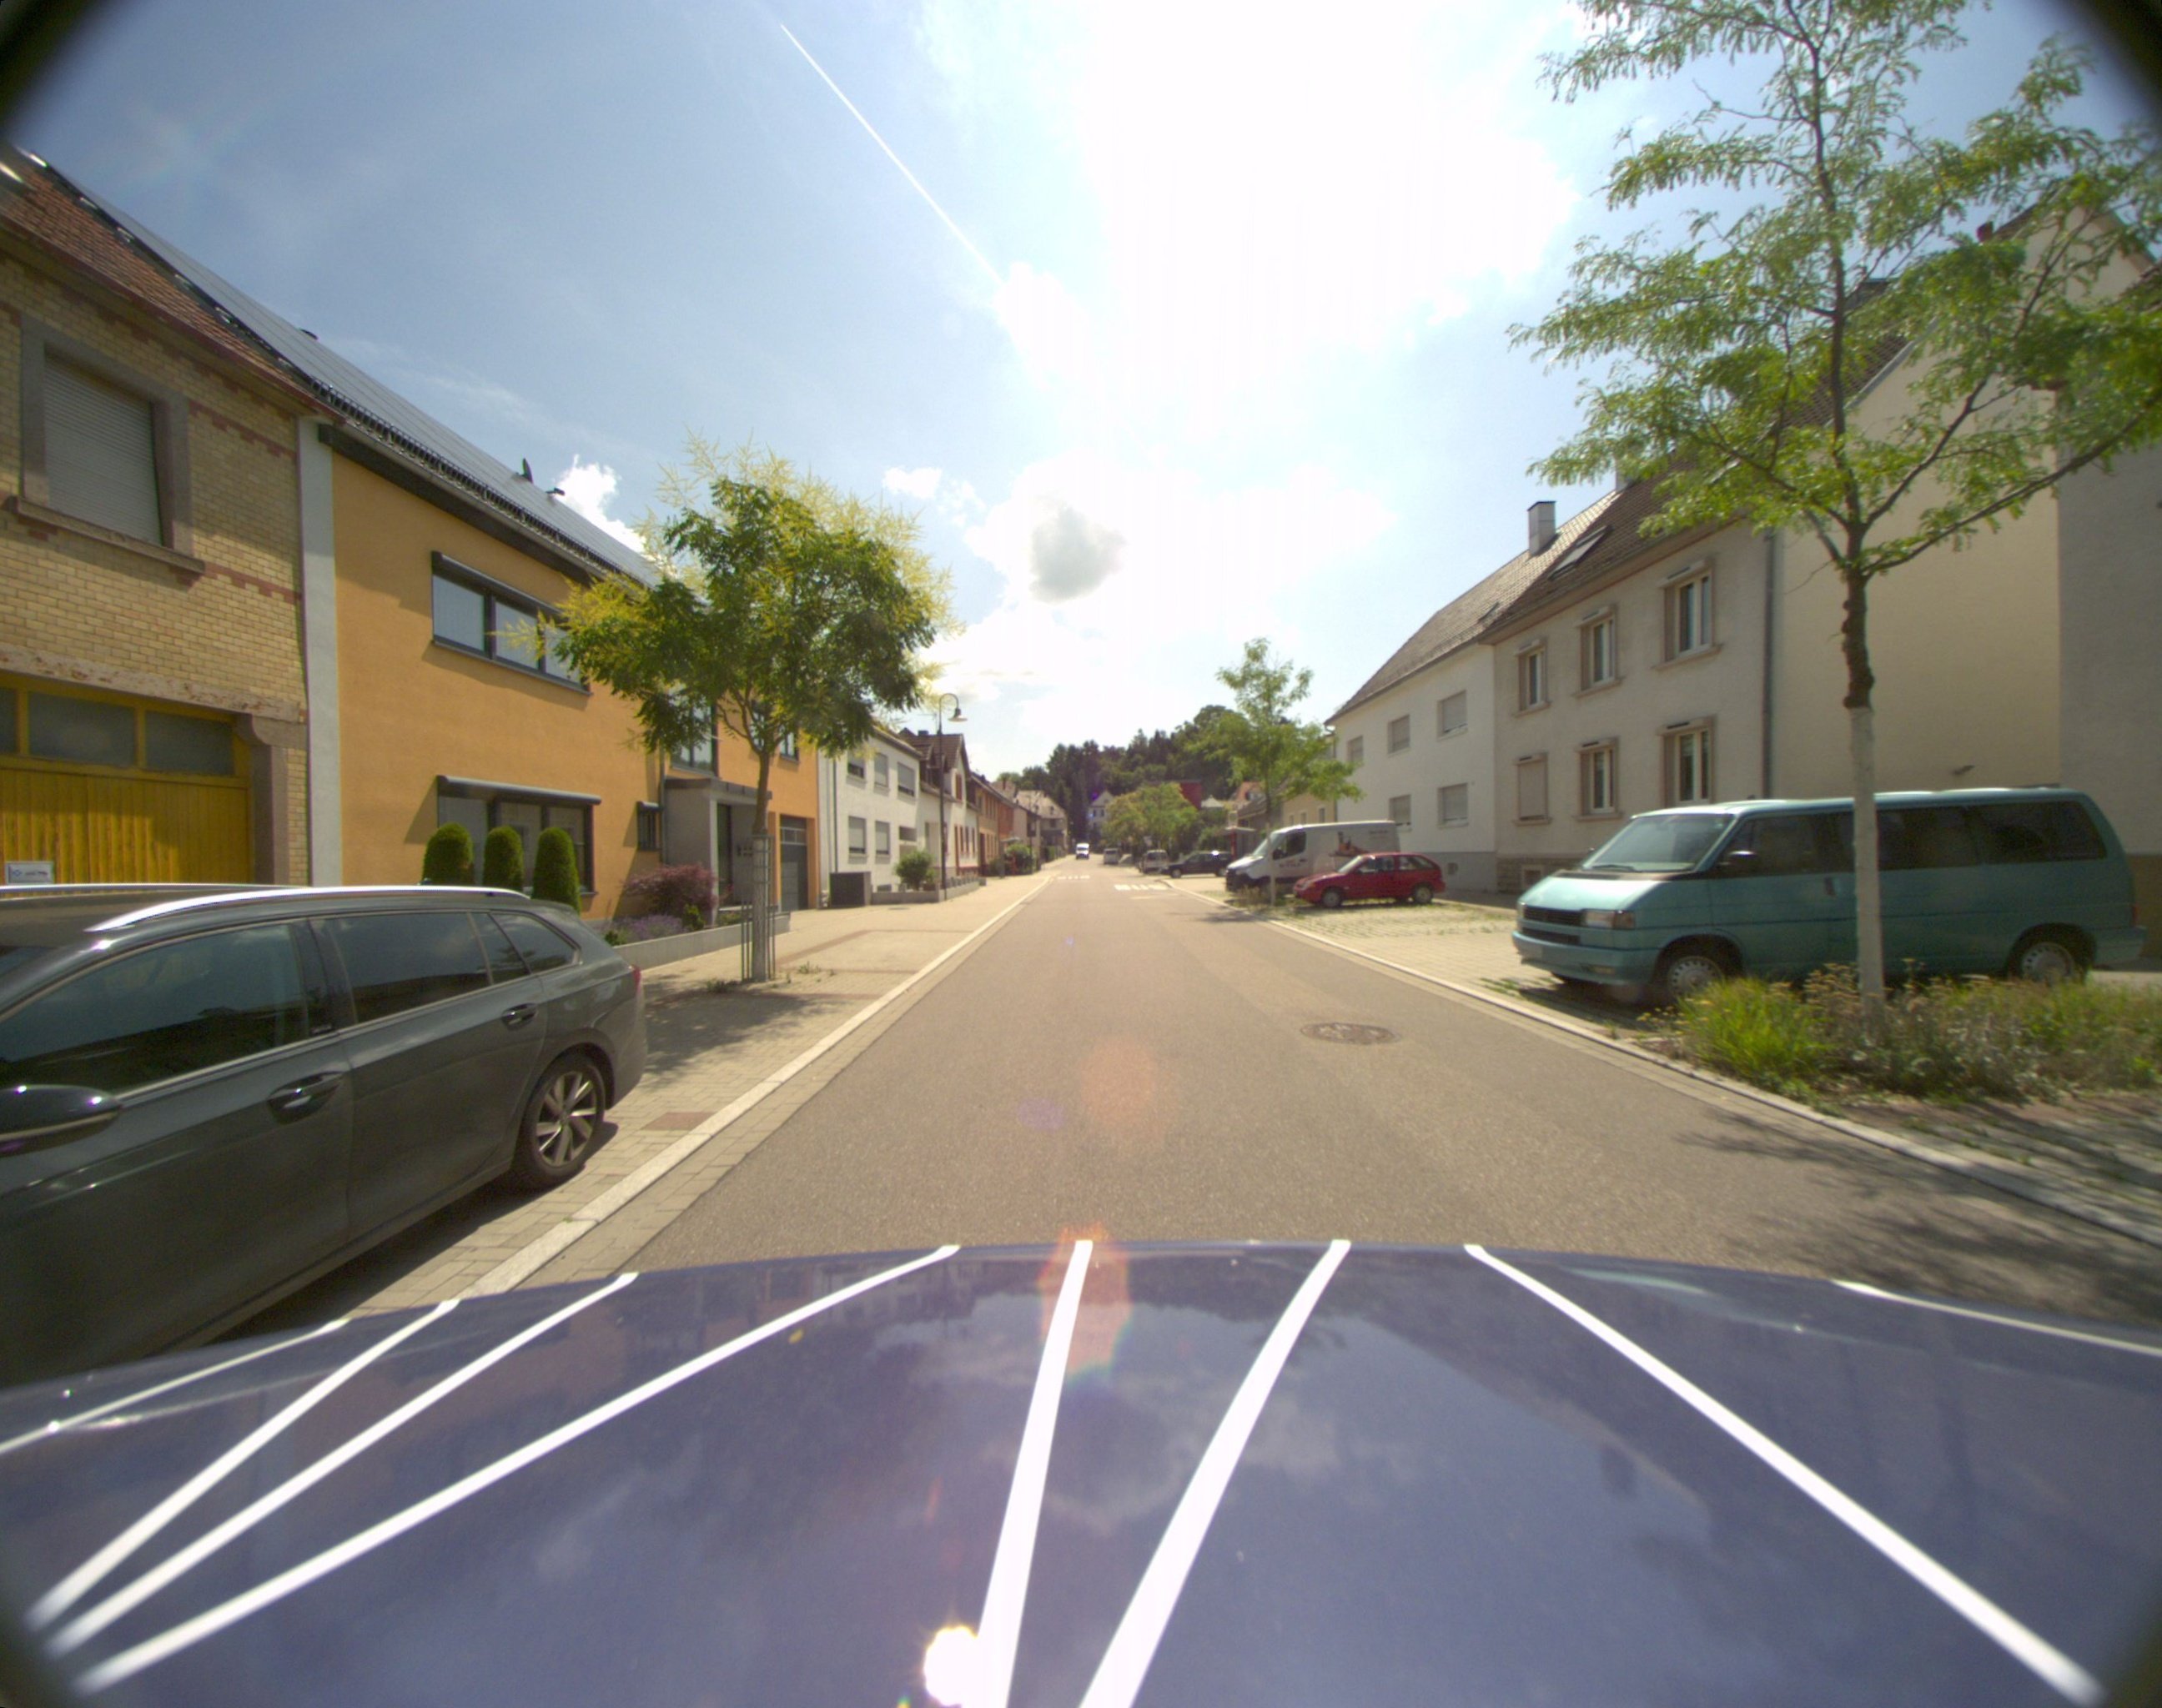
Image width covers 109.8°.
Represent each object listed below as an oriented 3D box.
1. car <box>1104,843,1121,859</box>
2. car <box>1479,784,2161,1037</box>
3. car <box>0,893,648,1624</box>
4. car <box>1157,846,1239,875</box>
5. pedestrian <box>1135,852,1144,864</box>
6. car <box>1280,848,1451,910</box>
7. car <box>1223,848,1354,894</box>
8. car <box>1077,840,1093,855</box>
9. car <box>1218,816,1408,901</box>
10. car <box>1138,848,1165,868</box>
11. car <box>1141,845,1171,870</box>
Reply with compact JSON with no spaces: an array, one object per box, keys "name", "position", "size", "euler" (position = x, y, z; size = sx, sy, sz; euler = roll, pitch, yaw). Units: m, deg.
[{"name":"car","position":[4.228,-0.428,101.573],"size":[1.999,1.968,3.999],"euler":[-1,1,0]},{"name":"car","position":[6.738,0.463,7.318],"size":[4.688,1.896,2.000],"euler":[-3,1,1]},{"name":"car","position":[-3.317,0.994,2.120],"size":[1.771,1.480,4.295],"euler":[-2,0,-1]},{"name":"car","position":[6.963,0.375,45.473],"size":[4.598,1.508,1.901],"euler":[-2,1,0]},{"name":"pedestrian","position":[5.856,0.418,76.072],"size":[0.816,1.135,0.885],"euler":[-3,1,-3]},{"name":"car","position":[7.346,0.621,19.888],"size":[3.792,1.377,1.725],"euler":[-3,1,1]},{"name":"car","position":[7.193,0.565,26.621],"size":[3.998,1.437,1.901],"euler":[-2,1,-2]},{"name":"car","position":[0.593,-1.033,124.044],"size":[2.489,2.306,5.599],"euler":[-3,1,0]},{"name":"car","position":[7.104,0.136,23.677],"size":[5.180,2.275,2.157],"euler":[-3,1,-1]},{"name":"car","position":[5.835,0.365,63.320],"size":[1.727,1.515,3.909],"euler":[-3,-1,-1]},{"name":"car","position":[5.638,0.265,57.376],"size":[1.844,1.737,4.687],"euler":[-3,-1,2]}]
